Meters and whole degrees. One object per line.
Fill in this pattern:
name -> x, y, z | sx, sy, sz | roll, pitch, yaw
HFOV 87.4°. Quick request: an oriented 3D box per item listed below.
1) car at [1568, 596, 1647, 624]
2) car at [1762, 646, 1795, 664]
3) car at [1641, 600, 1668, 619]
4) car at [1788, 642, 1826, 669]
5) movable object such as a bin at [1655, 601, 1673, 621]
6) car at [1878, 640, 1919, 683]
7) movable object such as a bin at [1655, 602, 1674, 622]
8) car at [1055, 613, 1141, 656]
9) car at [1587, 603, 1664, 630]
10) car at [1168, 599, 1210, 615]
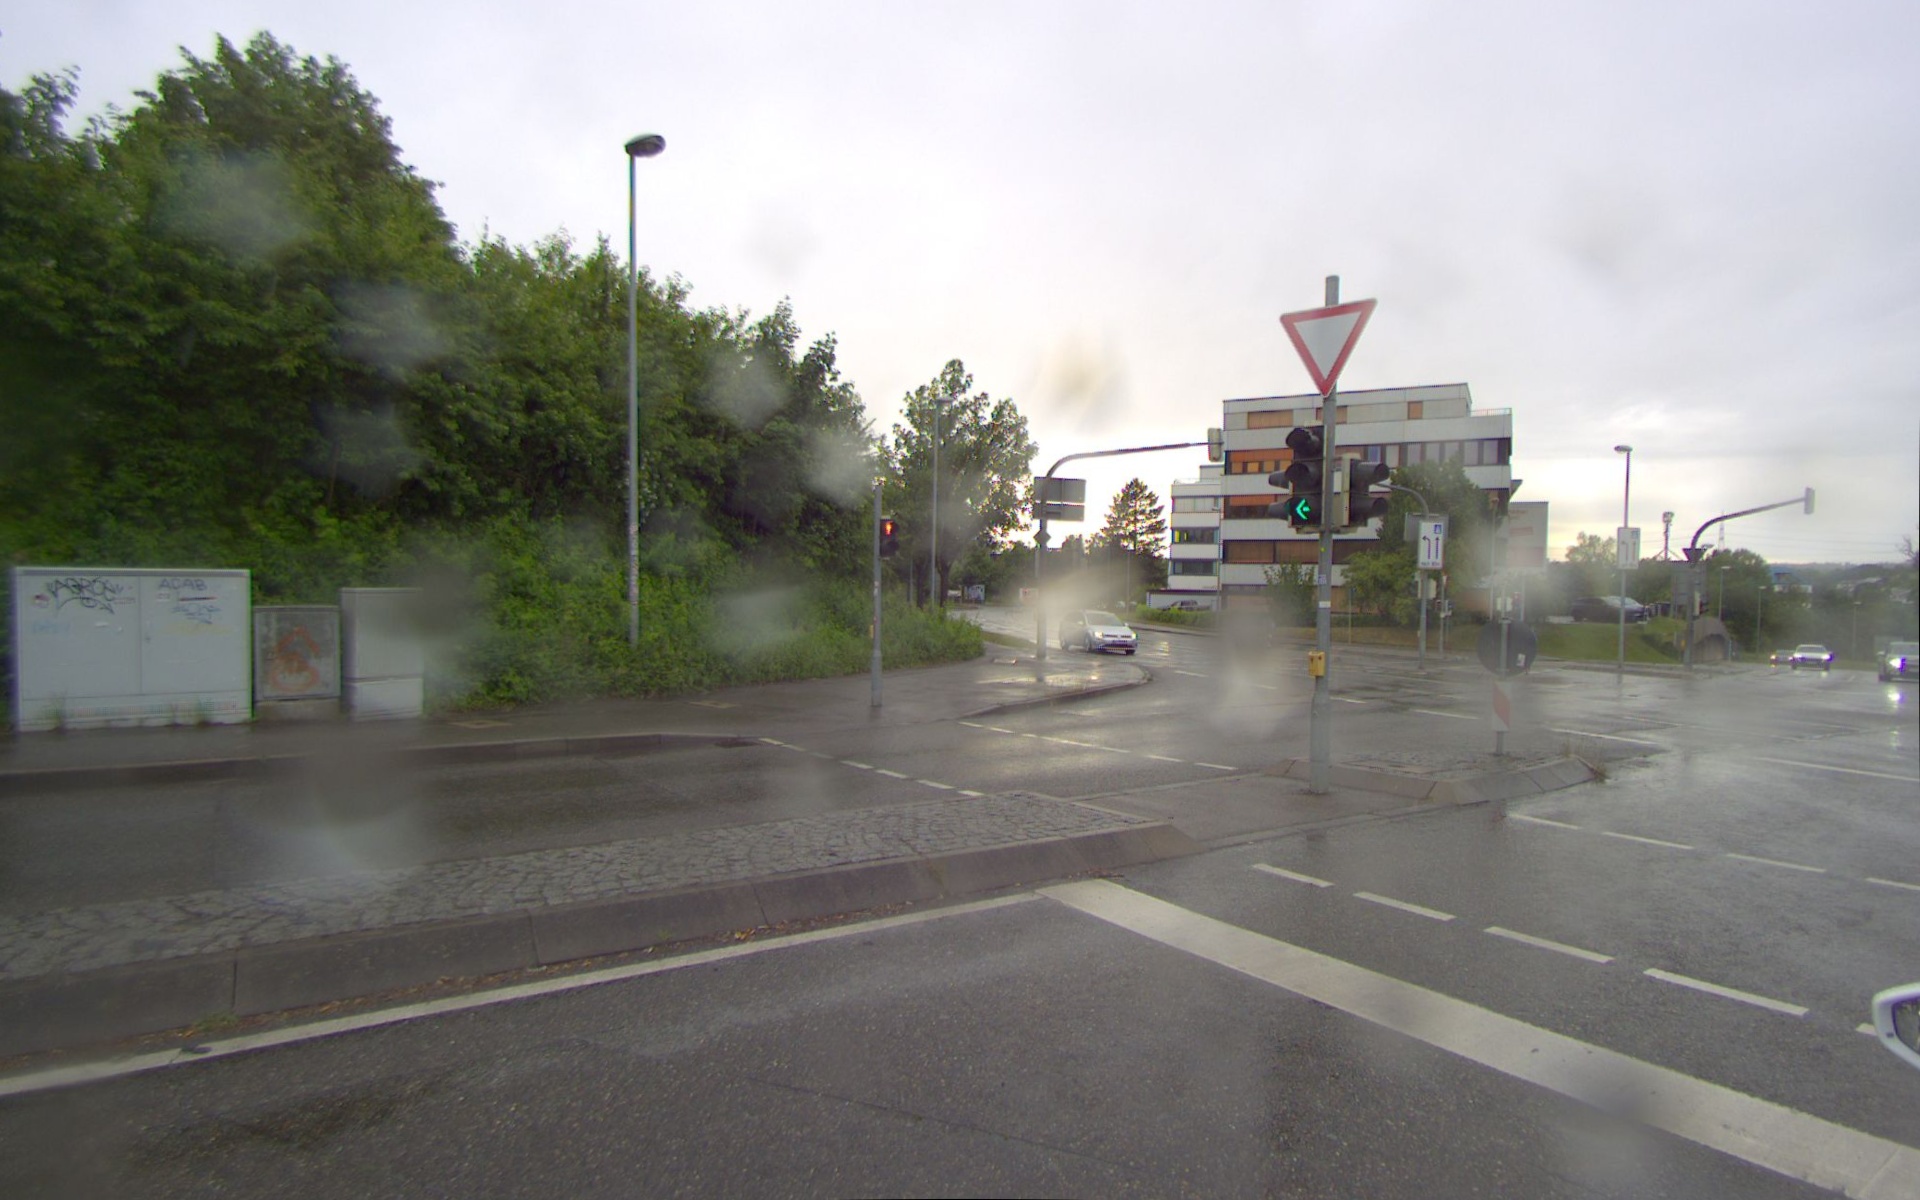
car -> 42.319, 0.648, 65.714 | 1.874, 1.607, 3.981 | 4, -1, -21
car -> 78.301, 5.281, 96.138 | 1.871, 1.475, 3.990 | 2, 0, 32
car -> 61.160, 0.829, 88.503 | 1.802, 1.461, 3.990 | 3, -1, 33
car -> 53.593, 3.493, 63.538 | 1.701, 1.514, 3.979 | 2, -1, 42
movable object such as a bin -> 56.416, 0.901, 80.516 | 1.069, 1.455, 1.443 | 3, -1, 34
car -> 35.857, 2.310, 37.956 | 1.643, 1.514, 3.979 | 2, -1, 42
movable object such as a bin -> 55.608, 0.932, 79.292 | 1.069, 1.455, 1.443 | 3, -1, 34
car -> 4.910, 1.199, 36.474 | 1.731, 1.381, 4.523 | 2, 0, -11
car -> 44.355, 1.075, 67.066 | 1.872, 1.607, 3.985 | 4, -1, -17
car -> 21.927, 0.625, 96.162 | 3.686, 1.418, 2.000 | 2, 0, 19
